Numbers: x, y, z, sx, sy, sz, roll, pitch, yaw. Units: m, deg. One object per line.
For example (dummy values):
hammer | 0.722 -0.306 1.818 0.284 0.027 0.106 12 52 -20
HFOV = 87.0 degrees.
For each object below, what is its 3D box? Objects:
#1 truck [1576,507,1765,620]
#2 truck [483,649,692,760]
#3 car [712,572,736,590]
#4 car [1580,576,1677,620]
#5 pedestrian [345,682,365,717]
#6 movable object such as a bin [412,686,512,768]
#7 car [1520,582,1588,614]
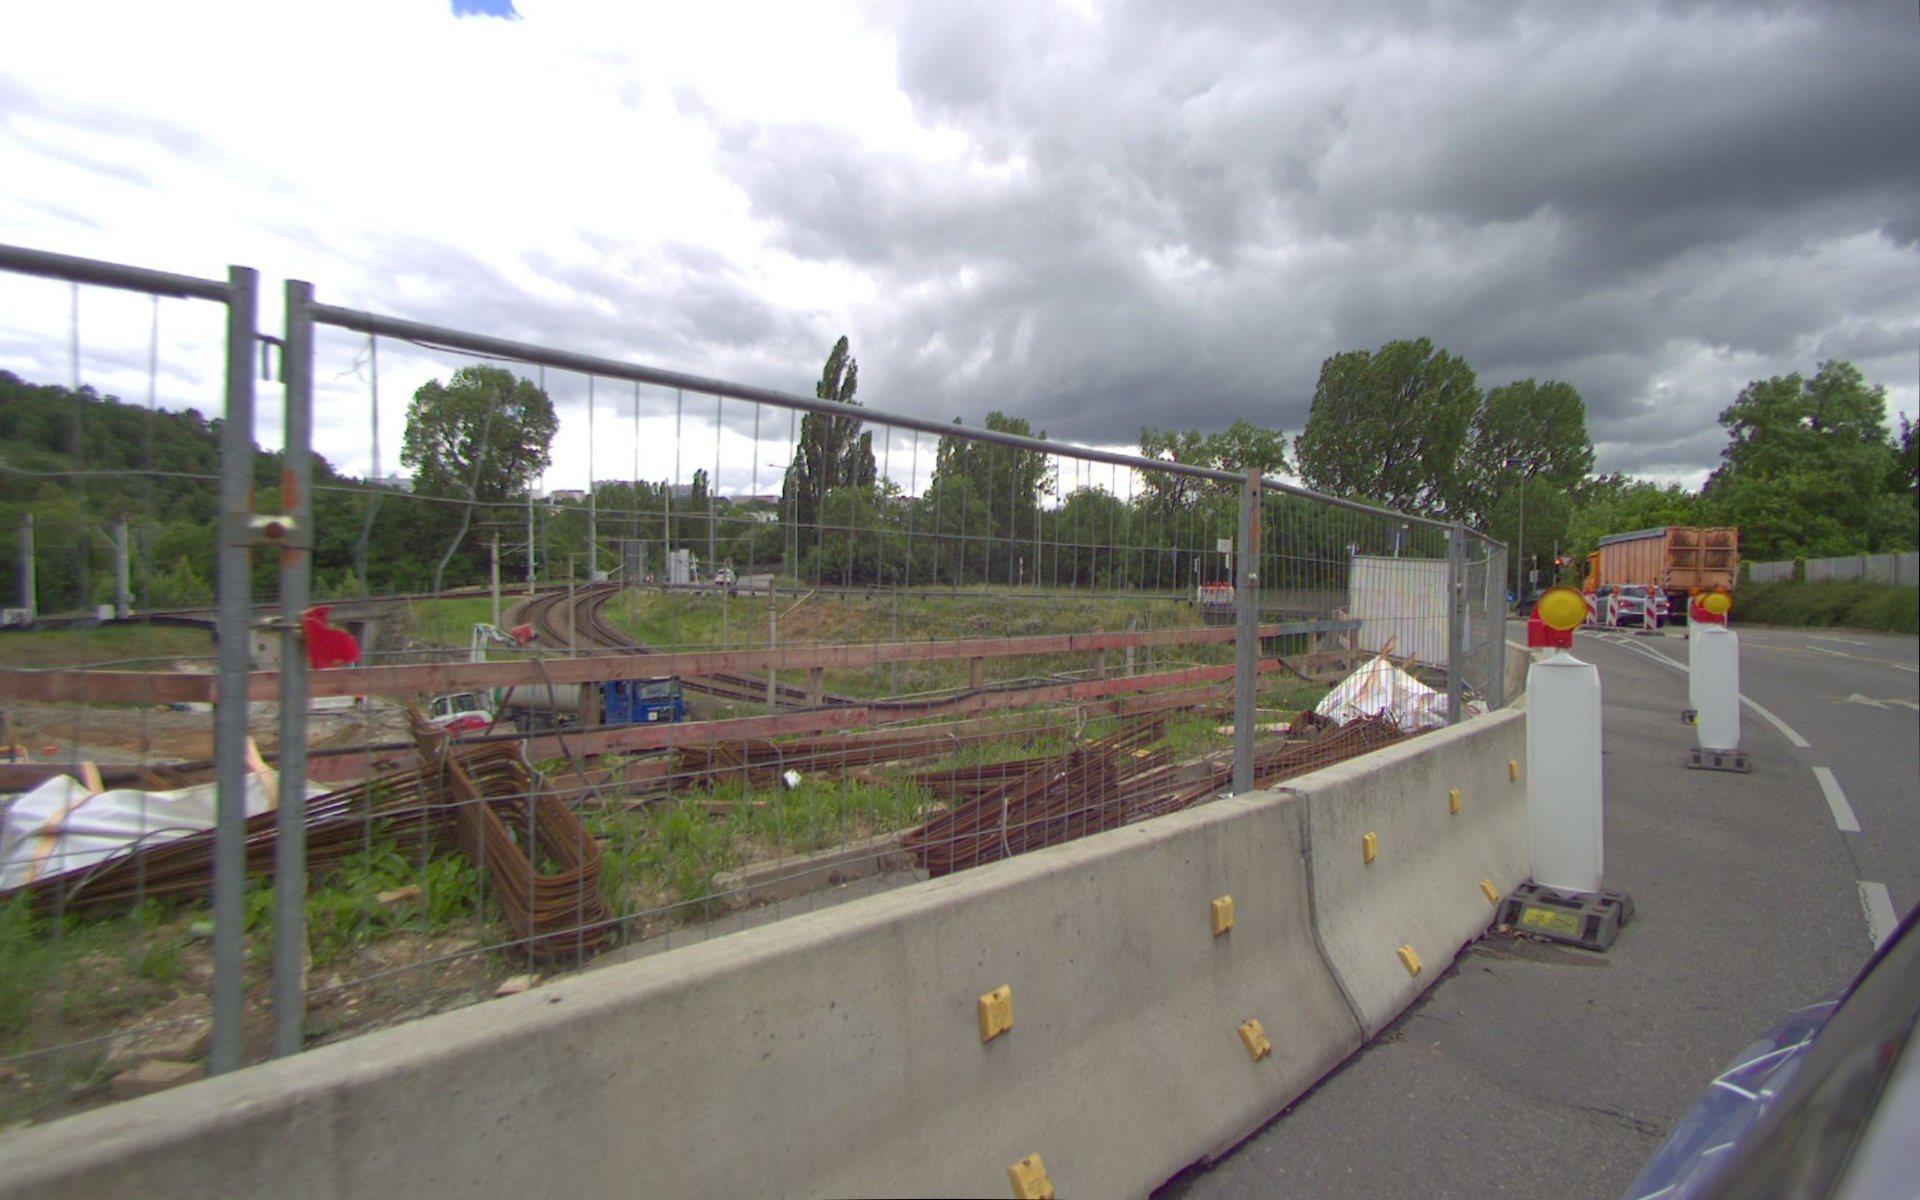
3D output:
truck | 30.106 -1.509 43.563 3.073 4.273 9.756 1 1 13
truck | -16.992 4.450 45.568 11.544 3.942 2.811 0 1 35
car | -26.416 -2.103 113.269 2.041 1.783 4.325 1 -2 -6
car | 25.359 -0.131 38.542 1.613 1.564 4.335 0 1 13
pedestrian | -36.731 6.029 61.427 0.677 2.040 0.815 -2 -2 33
movable object such as a bin | -21.124 5.249 42.815 2.992 2.784 4.284 -1 0 -38
car | 31.396 -0.116 53.599 1.615 1.571 3.781 3 1 7
